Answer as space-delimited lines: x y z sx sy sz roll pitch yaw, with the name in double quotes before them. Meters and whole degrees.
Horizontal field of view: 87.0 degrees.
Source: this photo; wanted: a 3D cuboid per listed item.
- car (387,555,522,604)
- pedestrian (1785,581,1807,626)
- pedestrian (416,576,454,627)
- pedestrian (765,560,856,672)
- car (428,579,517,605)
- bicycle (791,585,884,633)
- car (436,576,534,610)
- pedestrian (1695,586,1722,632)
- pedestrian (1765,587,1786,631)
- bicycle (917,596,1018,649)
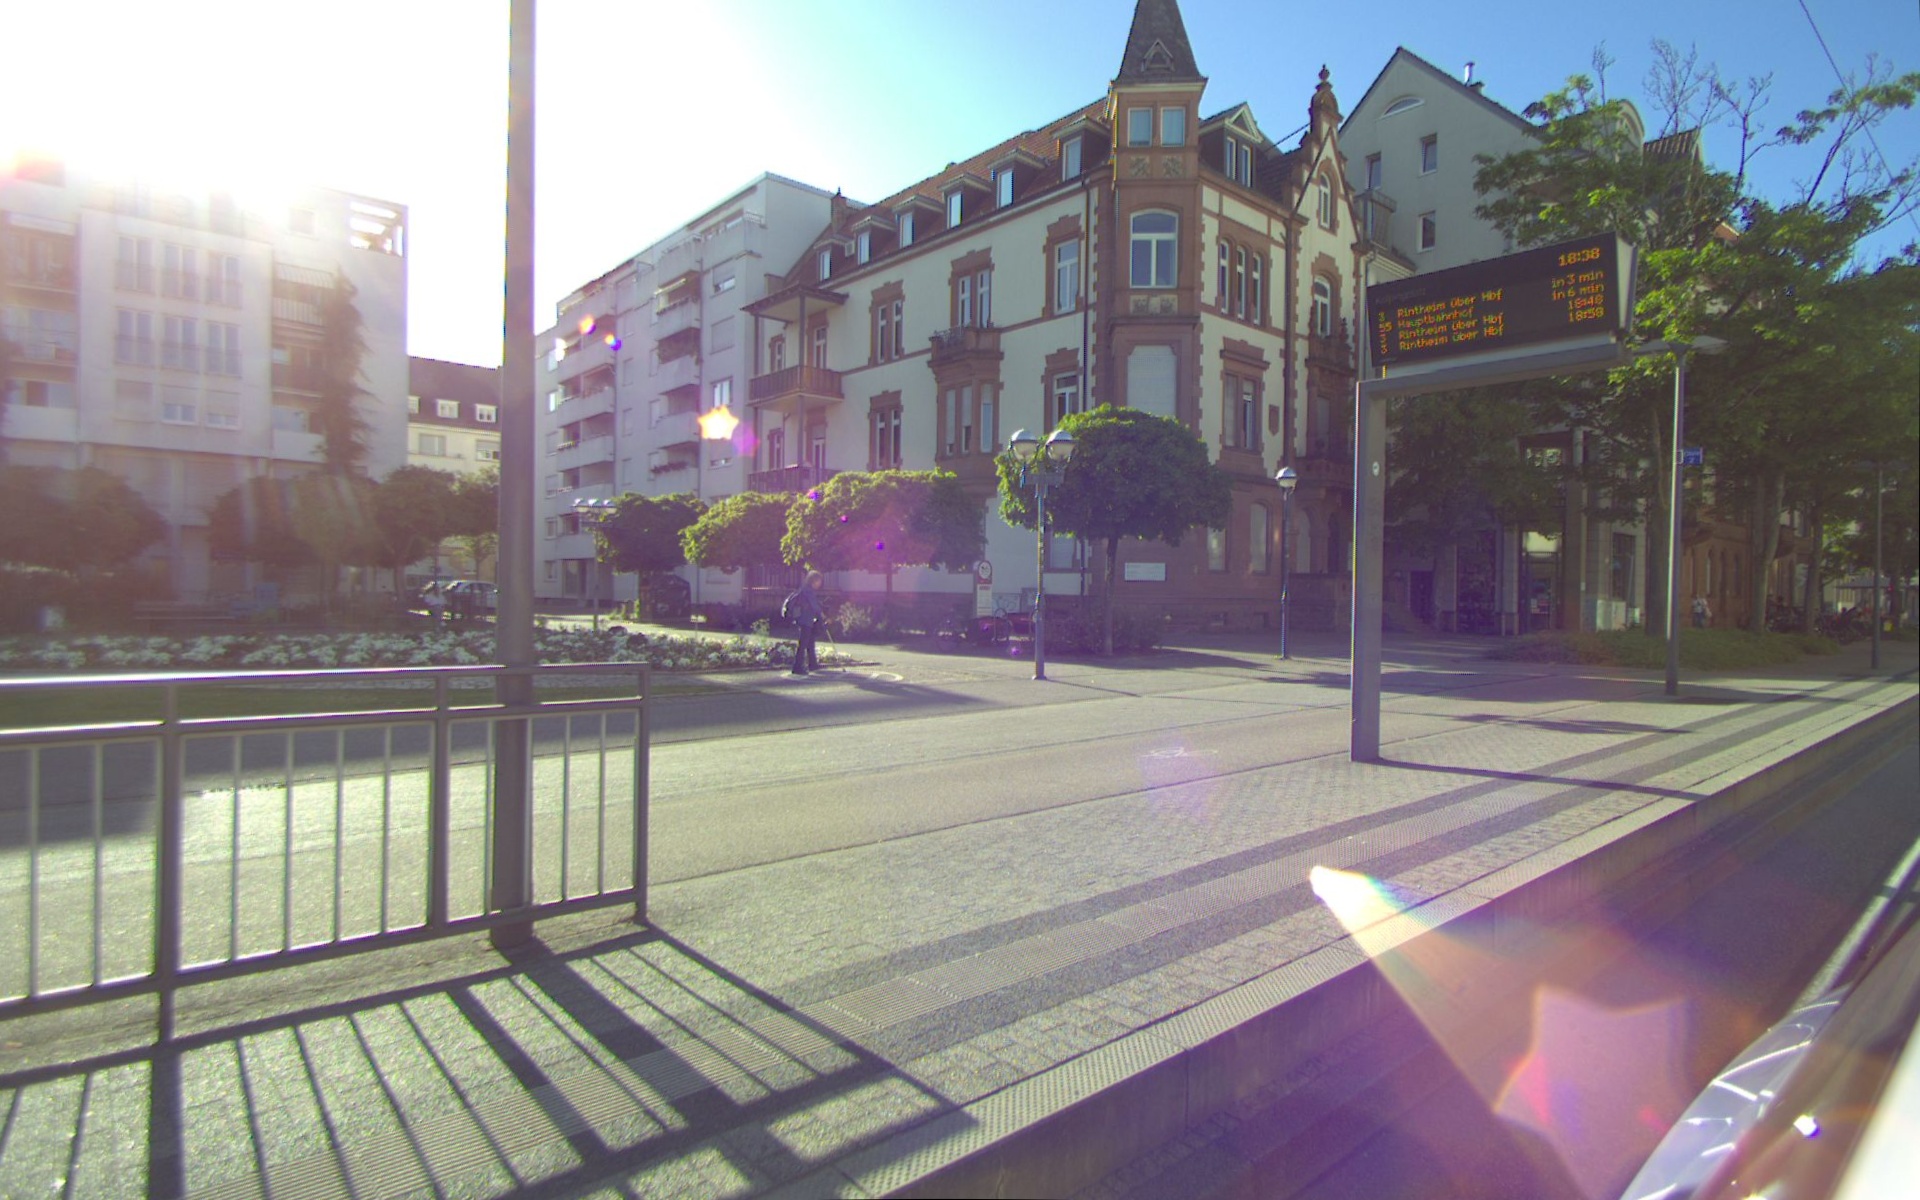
"car" -28.432 -1.133 57.125 6.291 2.587 2.808 0 1 -44
"pedestrian" 38.198 0.163 46.243 0.549 2.039 0.654 1 0 -38
"pedestrian" -15.089 0.026 29.063 0.917 1.429 1.529 0 0 -30
"pedestrian" -2.339 0.230 15.871 1.064 1.689 0.944 1 0 37
"car" -25.162 -0.429 52.266 3.923 1.304 2.001 0 1 -34
"bicycle" -3.657 0.269 30.530 2.864 1.389 0.745 0 0 -41
"car" -22.375 -0.311 47.730 3.923 1.536 2.001 0 1 -34
"pedestrian" 29.224 0.341 39.512 0.740 1.757 0.864 1 0 43
"pedestrian" 37.768 0.417 46.874 0.549 2.039 0.654 0 0 -38
"bicycle" 0.212 0.500 23.723 0.786 1.081 2.767 1 2 40
